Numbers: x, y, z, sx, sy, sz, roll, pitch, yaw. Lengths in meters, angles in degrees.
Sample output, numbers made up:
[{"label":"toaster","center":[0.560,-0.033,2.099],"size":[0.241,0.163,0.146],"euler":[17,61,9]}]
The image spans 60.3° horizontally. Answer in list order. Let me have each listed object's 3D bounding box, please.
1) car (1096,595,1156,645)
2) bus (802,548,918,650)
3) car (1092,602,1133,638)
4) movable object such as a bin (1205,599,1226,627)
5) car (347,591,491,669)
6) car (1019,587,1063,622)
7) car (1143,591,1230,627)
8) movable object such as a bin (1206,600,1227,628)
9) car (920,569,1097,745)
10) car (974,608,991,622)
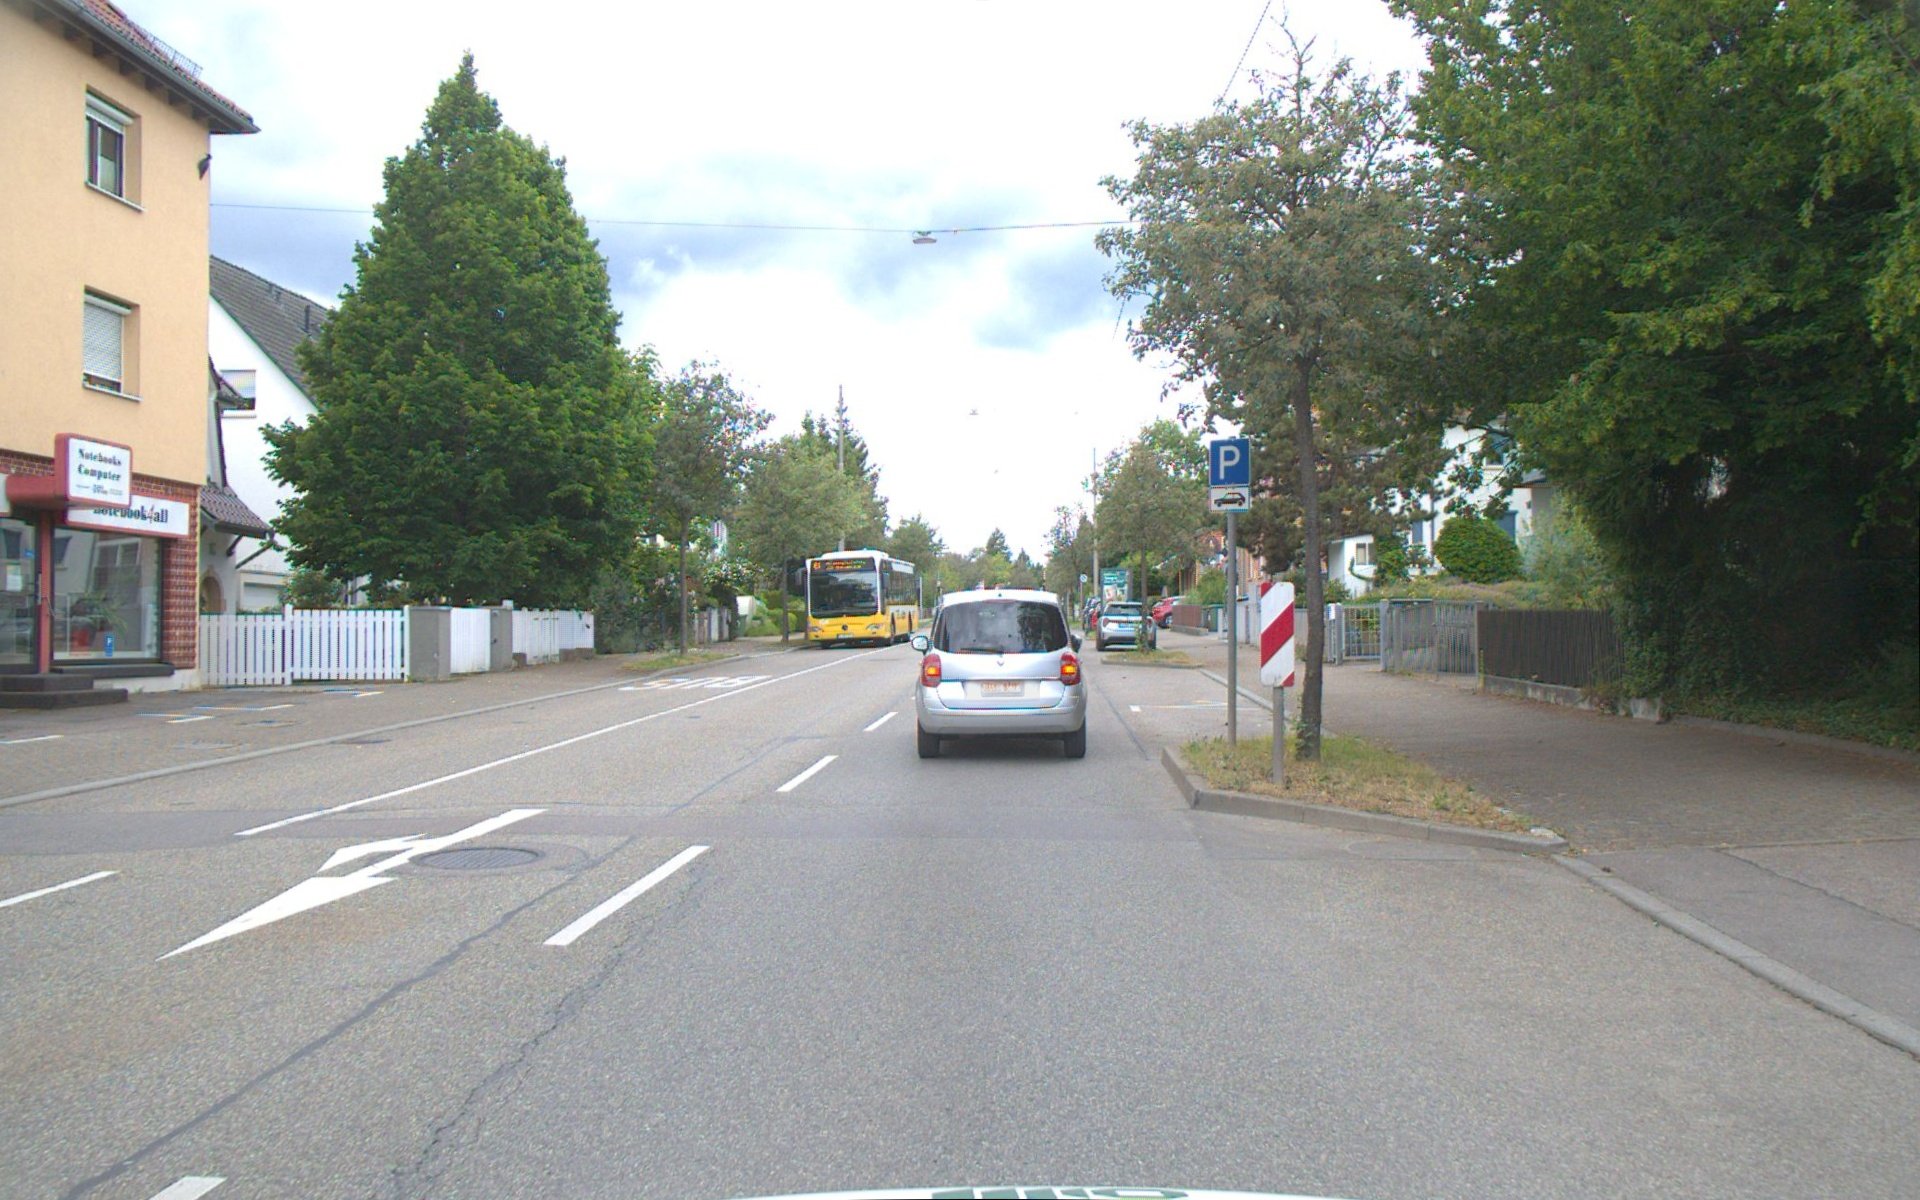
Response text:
[{"label":"car","center":[4.918,0.605,49.331],"size":[1.615,1.407,4.001],"euler":[0,-1,4]},{"label":"bus","center":[-3.307,-0.039,58.226],"size":[2.577,3.140,12.075],"euler":[-2,0,3]},{"label":"car","center":[6.291,0.818,68.193],"size":[1.627,1.417,3.670],"euler":[0,0,5]},{"label":"movable object such as a bin","center":[10.326,0.528,66.846],"size":[0.760,1.123,0.691],"euler":[-1,0,2]},{"label":"car","center":[-12.311,0.638,37.963],"size":[1.769,1.591,4.617],"euler":[-2,0,-1]},{"label":"car","center":[4.057,0.235,82.145],"size":[1.790,1.705,3.577],"euler":[-1,-1,9]},{"label":"car","center":[11.150,0.455,81.645],"size":[3.910,1.522,1.808],"euler":[-3,0,-6]},{"label":"movable object such as a bin","center":[10.253,0.551,66.091],"size":[0.760,1.123,0.691],"euler":[-1,0,2]},{"label":"car","center":[0.533,0.559,17.146],"size":[1.596,1.584,4.001],"euler":[1,-1,3]},{"label":"car","center":[2.676,1.853,198.172],"size":[1.867,1.646,3.998],"euler":[0,-1,-2]}]
